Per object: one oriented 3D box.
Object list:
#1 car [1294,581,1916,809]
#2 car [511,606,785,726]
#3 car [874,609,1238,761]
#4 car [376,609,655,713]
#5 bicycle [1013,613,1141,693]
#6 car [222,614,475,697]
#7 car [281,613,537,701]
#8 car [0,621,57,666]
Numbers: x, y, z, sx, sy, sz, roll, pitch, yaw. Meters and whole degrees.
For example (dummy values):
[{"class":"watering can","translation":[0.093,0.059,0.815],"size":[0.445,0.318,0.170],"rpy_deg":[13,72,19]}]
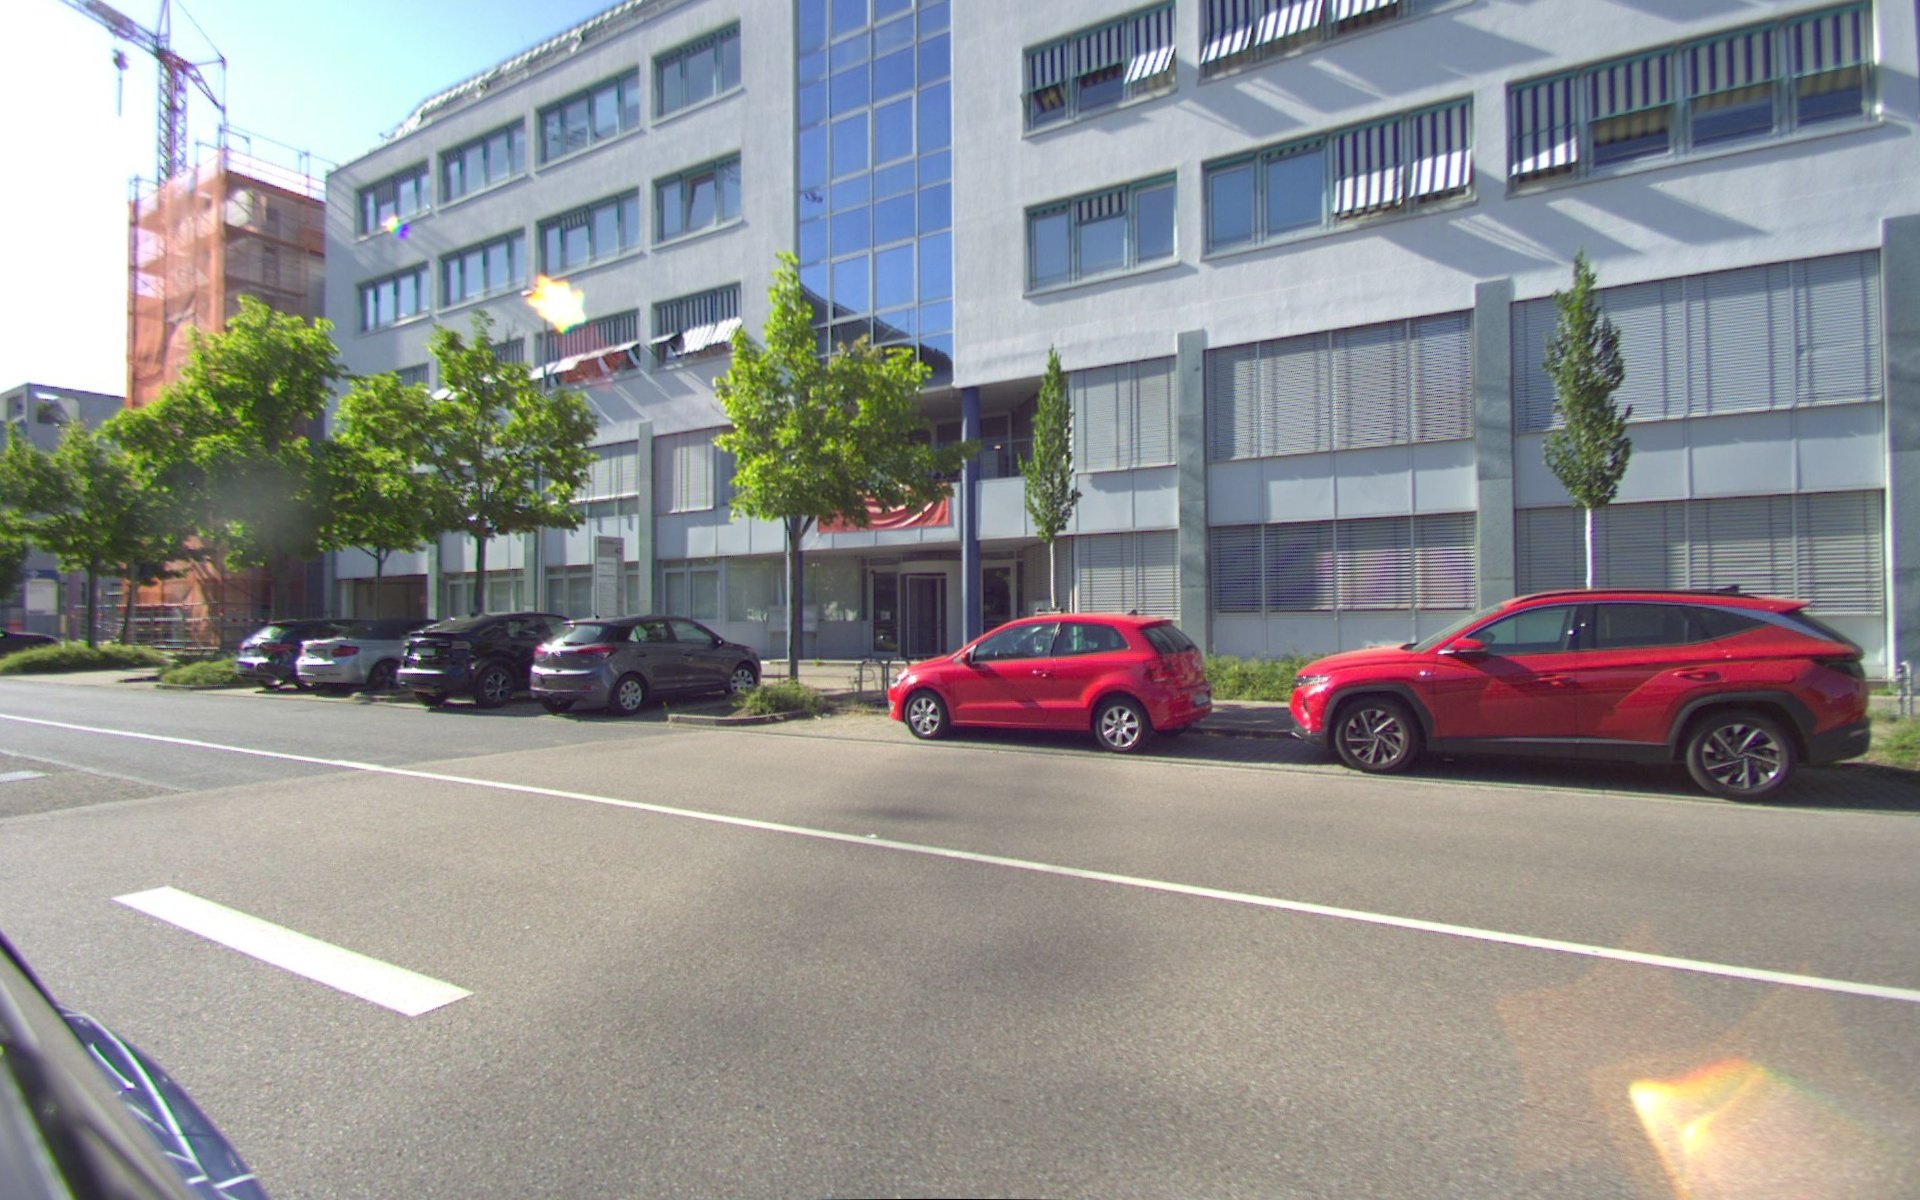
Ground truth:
[{"class":"car","translation":[5.391,0.702,9.062],"size":[4.294,1.619,1.676],"rpy_deg":[-1,1,31]},{"class":"car","translation":[-4.871,0.952,16.470],"size":[1.685,1.549,4.359],"rpy_deg":[-1,1,27]},{"class":"car","translation":[1.061,0.876,11.741],"size":[3.859,1.442,1.675],"rpy_deg":[-1,1,32]},{"class":"car","translation":[-7.620,0.966,17.803],"size":[1.686,1.442,4.357],"rpy_deg":[-1,1,29]},{"class":"bicycle","translation":[2.065,0.919,18.017],"size":[2.229,1.357,0.702],"rpy_deg":[-1,-3,38]},{"class":"car","translation":[-12.936,1.108,21.710],"size":[1.687,1.442,4.354],"rpy_deg":[-1,1,30]},{"class":"car","translation":[-10.975,1.063,20.505],"size":[1.685,1.442,4.359],"rpy_deg":[-1,1,27]},{"class":"car","translation":[-33.423,1.514,33.878],"size":[1.968,1.442,4.358],"rpy_deg":[-1,1,28]}]
